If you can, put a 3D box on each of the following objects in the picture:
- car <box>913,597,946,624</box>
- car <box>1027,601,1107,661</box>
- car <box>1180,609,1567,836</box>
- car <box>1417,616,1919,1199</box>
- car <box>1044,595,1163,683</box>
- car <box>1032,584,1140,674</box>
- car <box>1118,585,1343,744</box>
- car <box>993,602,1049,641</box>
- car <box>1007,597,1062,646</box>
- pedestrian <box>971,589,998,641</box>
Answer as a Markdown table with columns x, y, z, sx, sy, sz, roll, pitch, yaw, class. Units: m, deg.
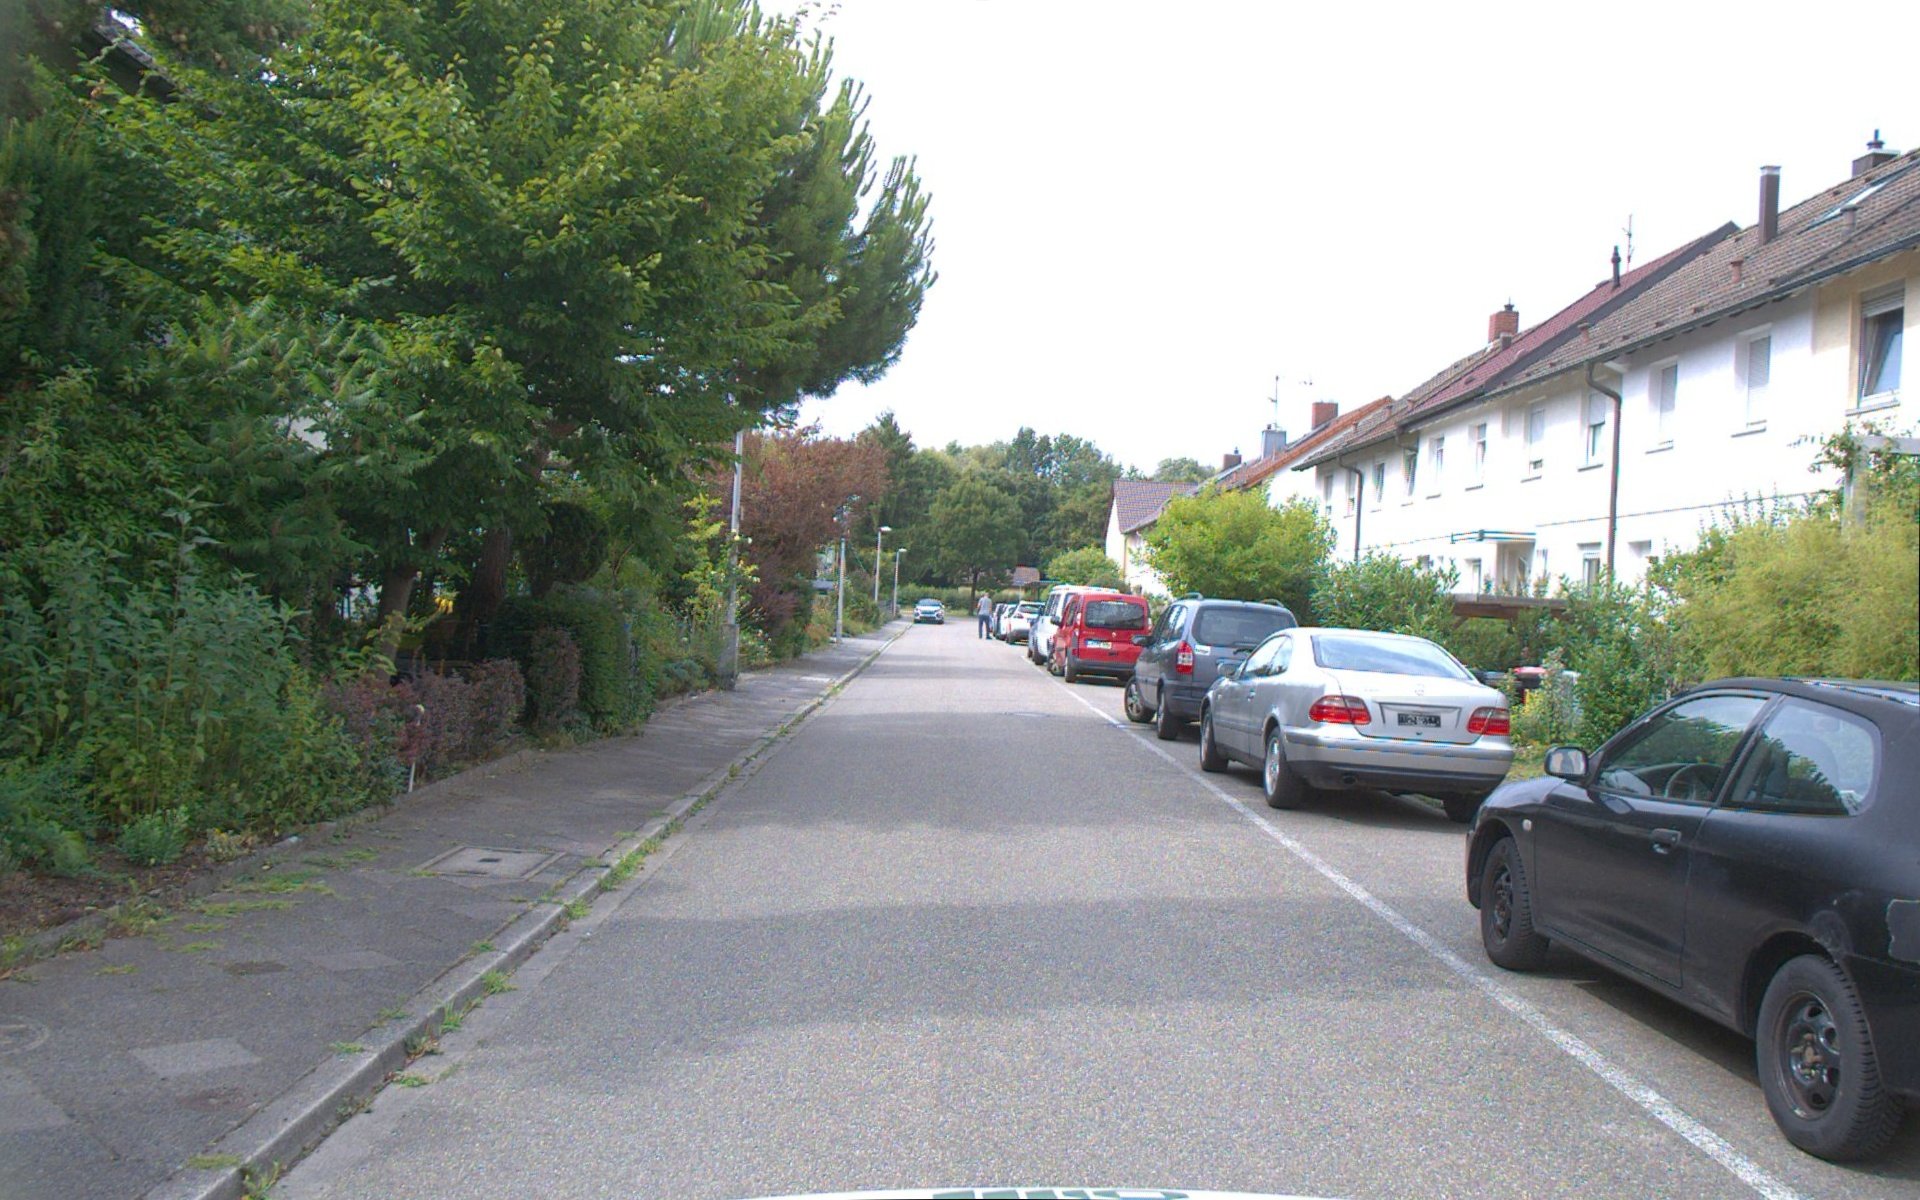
| x | y | z | sx | sy | sz | roll | pitch | yaw | class |
| --- | --- | --- | --- | --- | --- | --- | --- | --- | --- |
| -1.909 | 0.628 | 104.120 | 1.894 | 1.583 | 4.634 | 2 | 0 | 0 | car |
| 2.842 | 0.809 | 44.823 | 1.862 | 1.485 | 4.129 | 2 | 0 | 0 | car |
| 3.257 | 0.884 | 14.115 | 1.830 | 1.431 | 4.765 | 4 | 0 | -3 | car |
| 3.256 | 0.855 | 6.249 | 1.698 | 1.453 | 4.124 | 3 | 0 | -3 | car |
| 2.929 | 0.760 | 34.721 | 1.775 | 1.679 | 4.407 | 2 | 0 | -4 | car |
| 2.958 | 0.645 | 39.722 | 1.980 | 1.981 | 4.745 | 2 | 0 | -3 | car |
| 3.211 | 0.706 | 20.555 | 1.830 | 1.682 | 4.462 | 3 | 0 | -3 | car |
| 2.446 | 0.825 | 66.918 | 1.801 | 1.437 | 4.634 | 2 | 0 | -3 | car |
| 2.634 | 0.744 | 59.434 | 1.679 | 1.570 | 3.973 | 4 | 0 | 0 | car |
| 0.982 | 0.588 | 66.281 | 0.894 | 2.049 | 0.950 | 2 | 0 | -5 | pedestrian |
